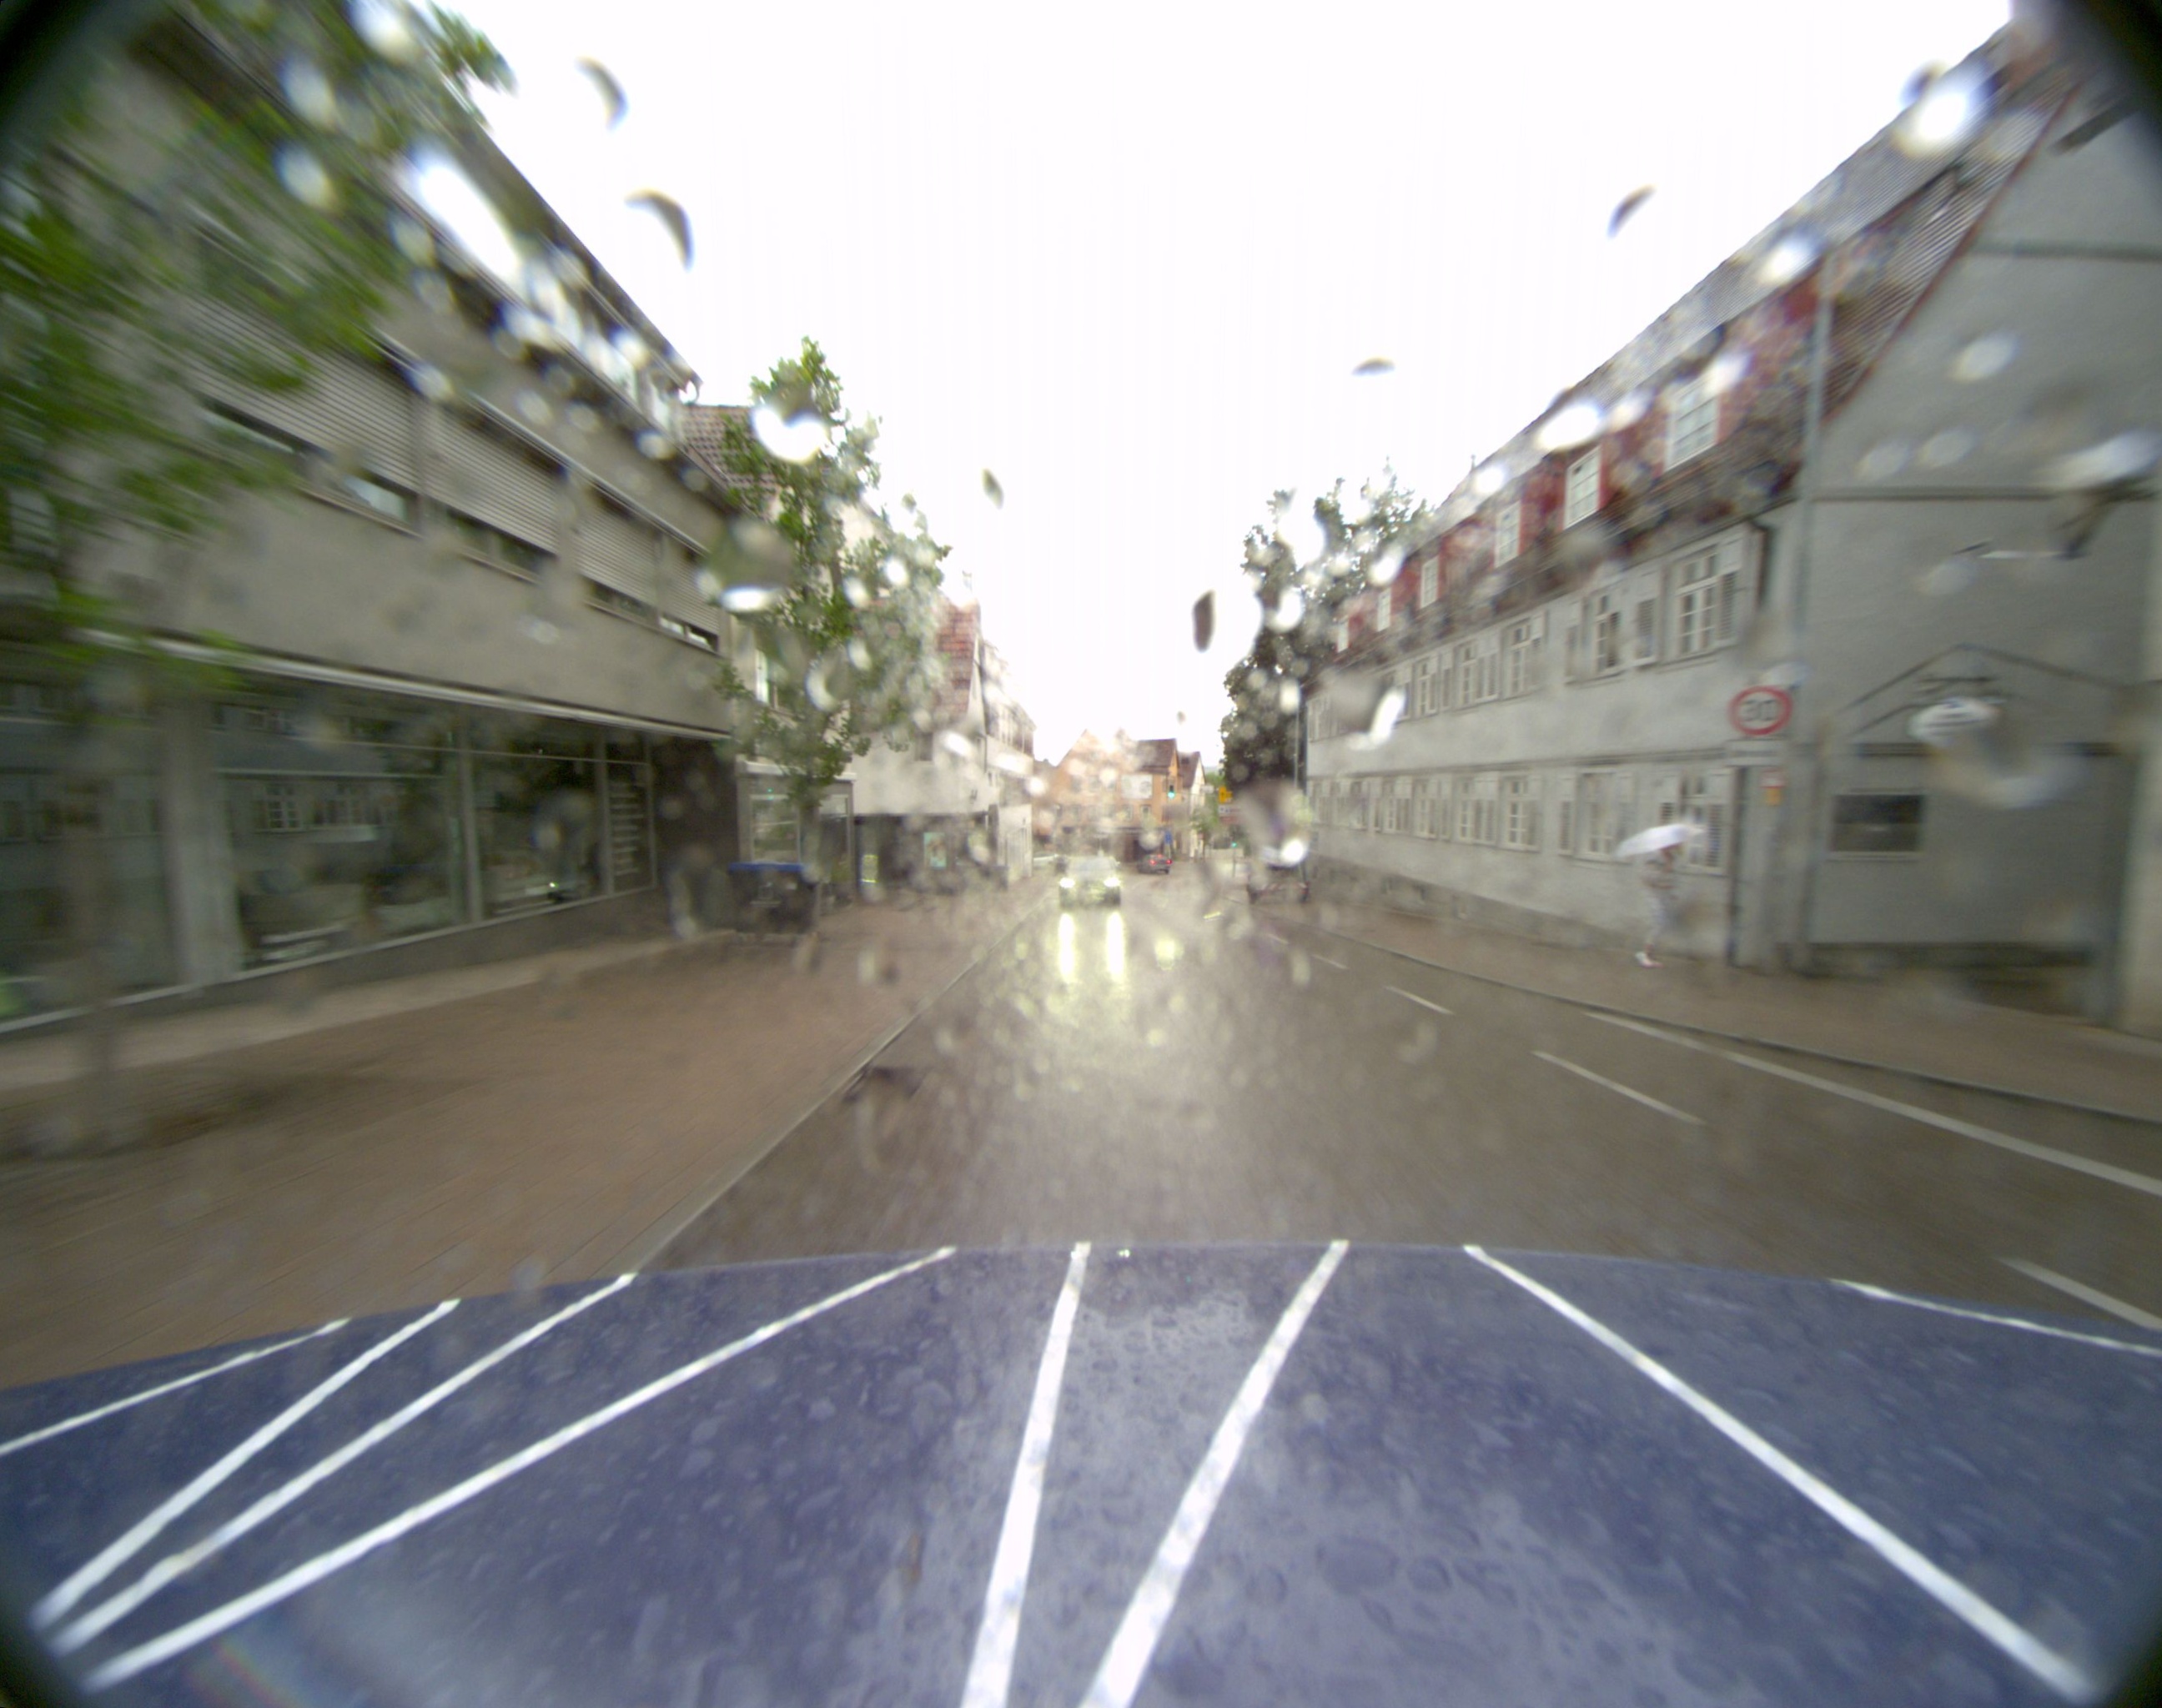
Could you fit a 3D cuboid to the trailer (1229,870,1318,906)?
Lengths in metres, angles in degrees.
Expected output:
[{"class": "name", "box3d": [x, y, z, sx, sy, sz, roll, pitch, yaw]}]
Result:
[{"class": "trailer", "box3d": [6.297, 1.081, 25.358, 1.998, 0.900, 4.477, -1, 0, 3]}]

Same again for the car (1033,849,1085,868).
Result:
[{"class": "car", "box3d": [-2.019, 0.367, 70.058, 4.372, 1.598, 1.972, 1, 1, 22]}]

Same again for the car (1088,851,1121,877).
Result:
[{"class": "car", "box3d": [1.467, 0.595, 47.700, 1.967, 1.598, 4.383, 0, 0, 2]}]

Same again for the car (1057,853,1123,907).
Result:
[{"class": "car", "box3d": [0.306, 0.772, 24.865, 1.967, 1.549, 4.622, 0, 1, 1]}]

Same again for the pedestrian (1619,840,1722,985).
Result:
[{"class": "pedestrian", "box3d": [7.350, 0.703, 9.506, 0.690, 1.730, 0.735, -2, 1, 3]}]

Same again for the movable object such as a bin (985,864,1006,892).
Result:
[{"class": "movable object such as a bin", "box3d": [-3.264, 0.921, 29.007, 0.571, 1.022, 0.467, 1, 1, -40]}]

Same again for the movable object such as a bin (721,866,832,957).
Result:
[{"class": "movable object such as a bin", "box3d": [-4.790, 0.879, 12.042, 1.237, 1.327, 1.172, 1, 0, 2]}]

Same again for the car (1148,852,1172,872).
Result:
[{"class": "car", "box3d": [6.251, 0.621, 60.288, 1.612, 1.463, 3.586, 1, 0, 1]}]

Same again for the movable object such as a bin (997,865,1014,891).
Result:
[{"class": "movable object such as a bin", "box3d": [-2.992, 0.950, 30.159, 0.596, 1.022, 0.476, 2, 1, 2]}]
